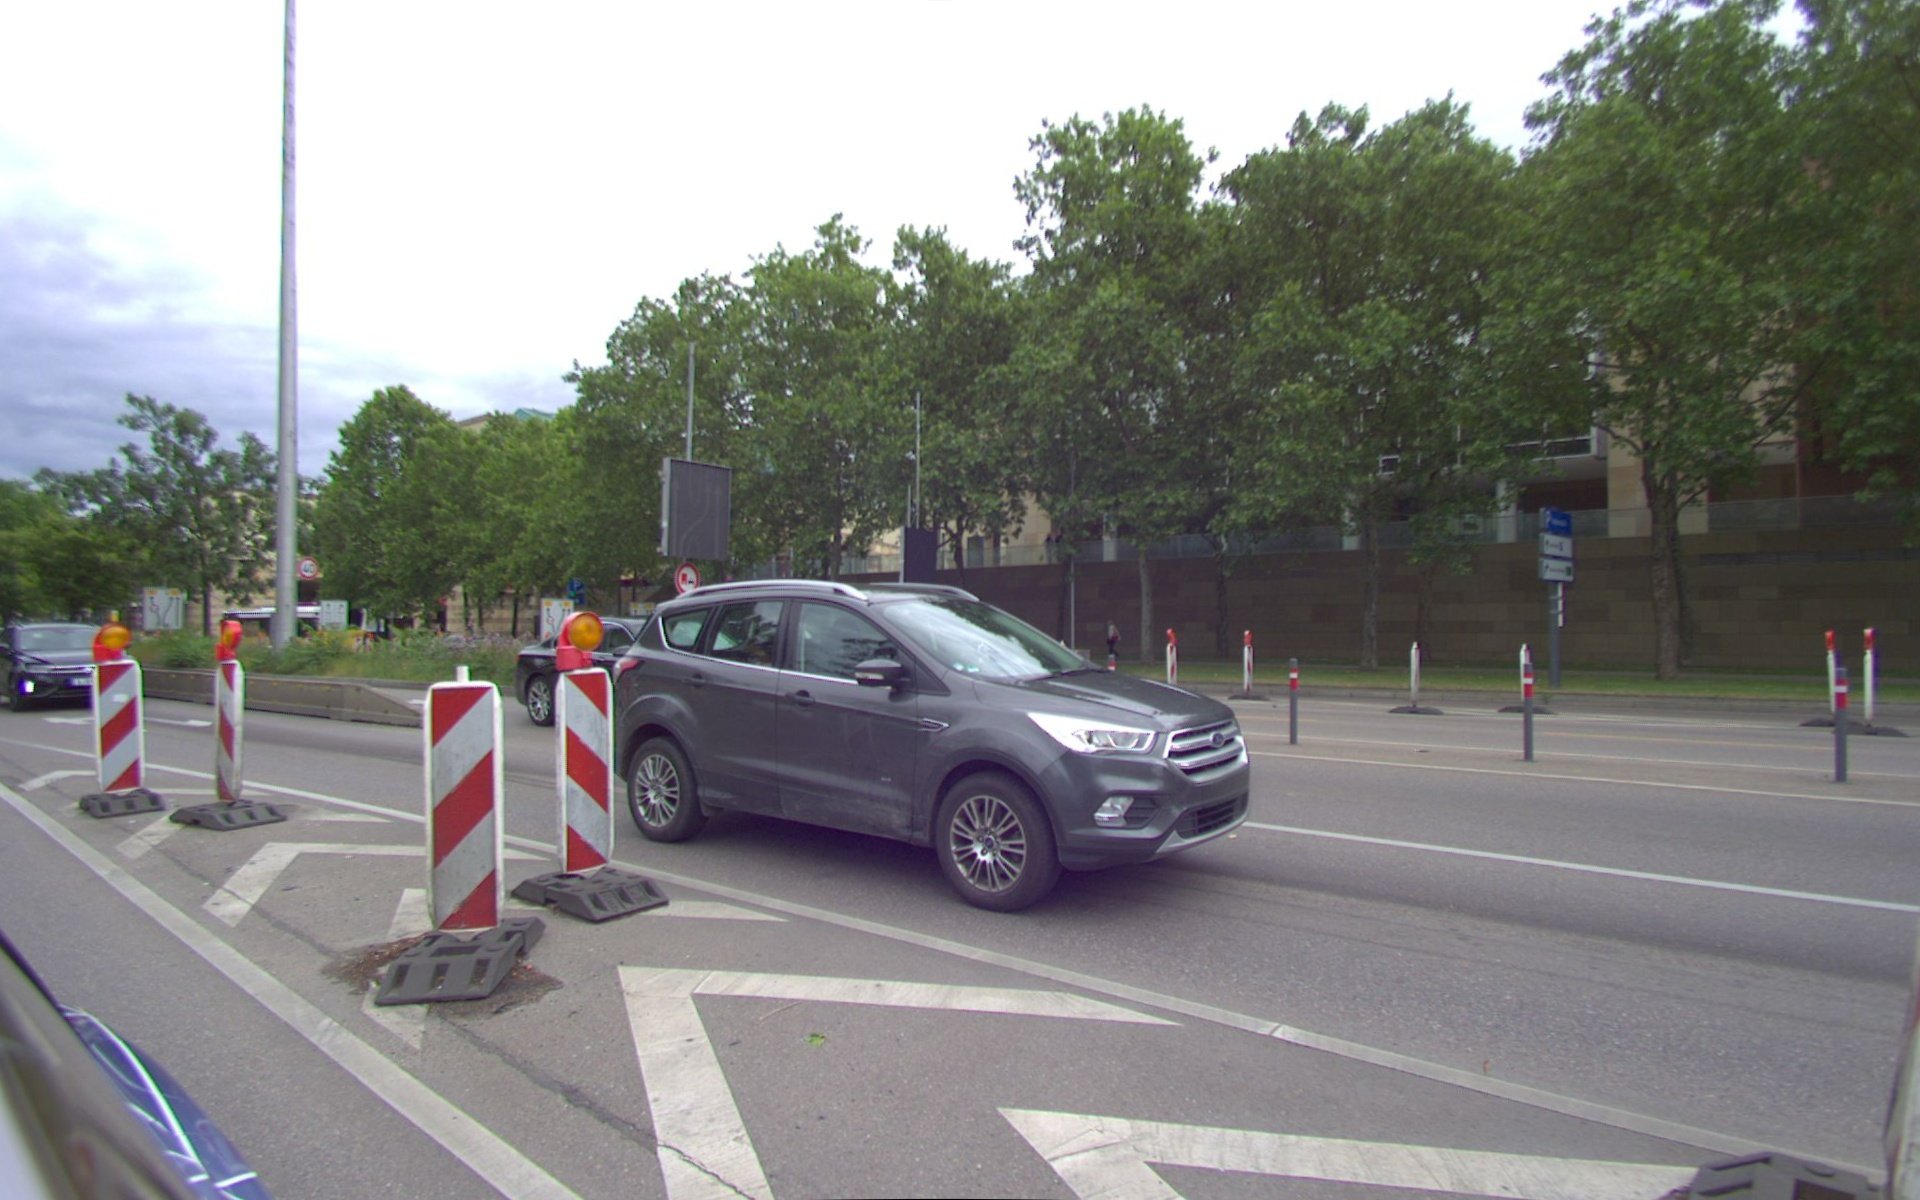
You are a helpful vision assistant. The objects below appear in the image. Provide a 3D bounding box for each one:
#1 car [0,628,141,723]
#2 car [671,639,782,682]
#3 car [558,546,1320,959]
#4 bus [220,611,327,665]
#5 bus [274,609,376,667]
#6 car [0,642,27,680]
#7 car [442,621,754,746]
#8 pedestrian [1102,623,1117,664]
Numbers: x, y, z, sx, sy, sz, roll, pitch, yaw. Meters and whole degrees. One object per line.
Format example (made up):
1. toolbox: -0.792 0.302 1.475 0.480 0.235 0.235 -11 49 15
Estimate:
1. car: -16.905 1.310 18.804 4.146 1.527 1.746 -1 -1 38
2. car: -8.058 2.061 34.817 3.997 1.383 1.708 -3 -3 40
3. car: -0.385 0.711 6.414 4.650 1.728 1.876 -2 -1 37
4. bus: -45.565 2.517 67.012 10.437 3.330 2.884 -2 -2 39
5. bus: -38.518 2.293 61.307 7.697 3.329 2.894 -2 -2 39
6. car: -40.176 2.481 41.593 4.803 1.494 1.974 -2 -2 39
7. car: -5.273 1.086 14.422 4.803 1.494 1.974 -2 -2 39
8. pedestrian: 5.937 1.730 40.209 0.443 1.619 0.351 -1 0 33
